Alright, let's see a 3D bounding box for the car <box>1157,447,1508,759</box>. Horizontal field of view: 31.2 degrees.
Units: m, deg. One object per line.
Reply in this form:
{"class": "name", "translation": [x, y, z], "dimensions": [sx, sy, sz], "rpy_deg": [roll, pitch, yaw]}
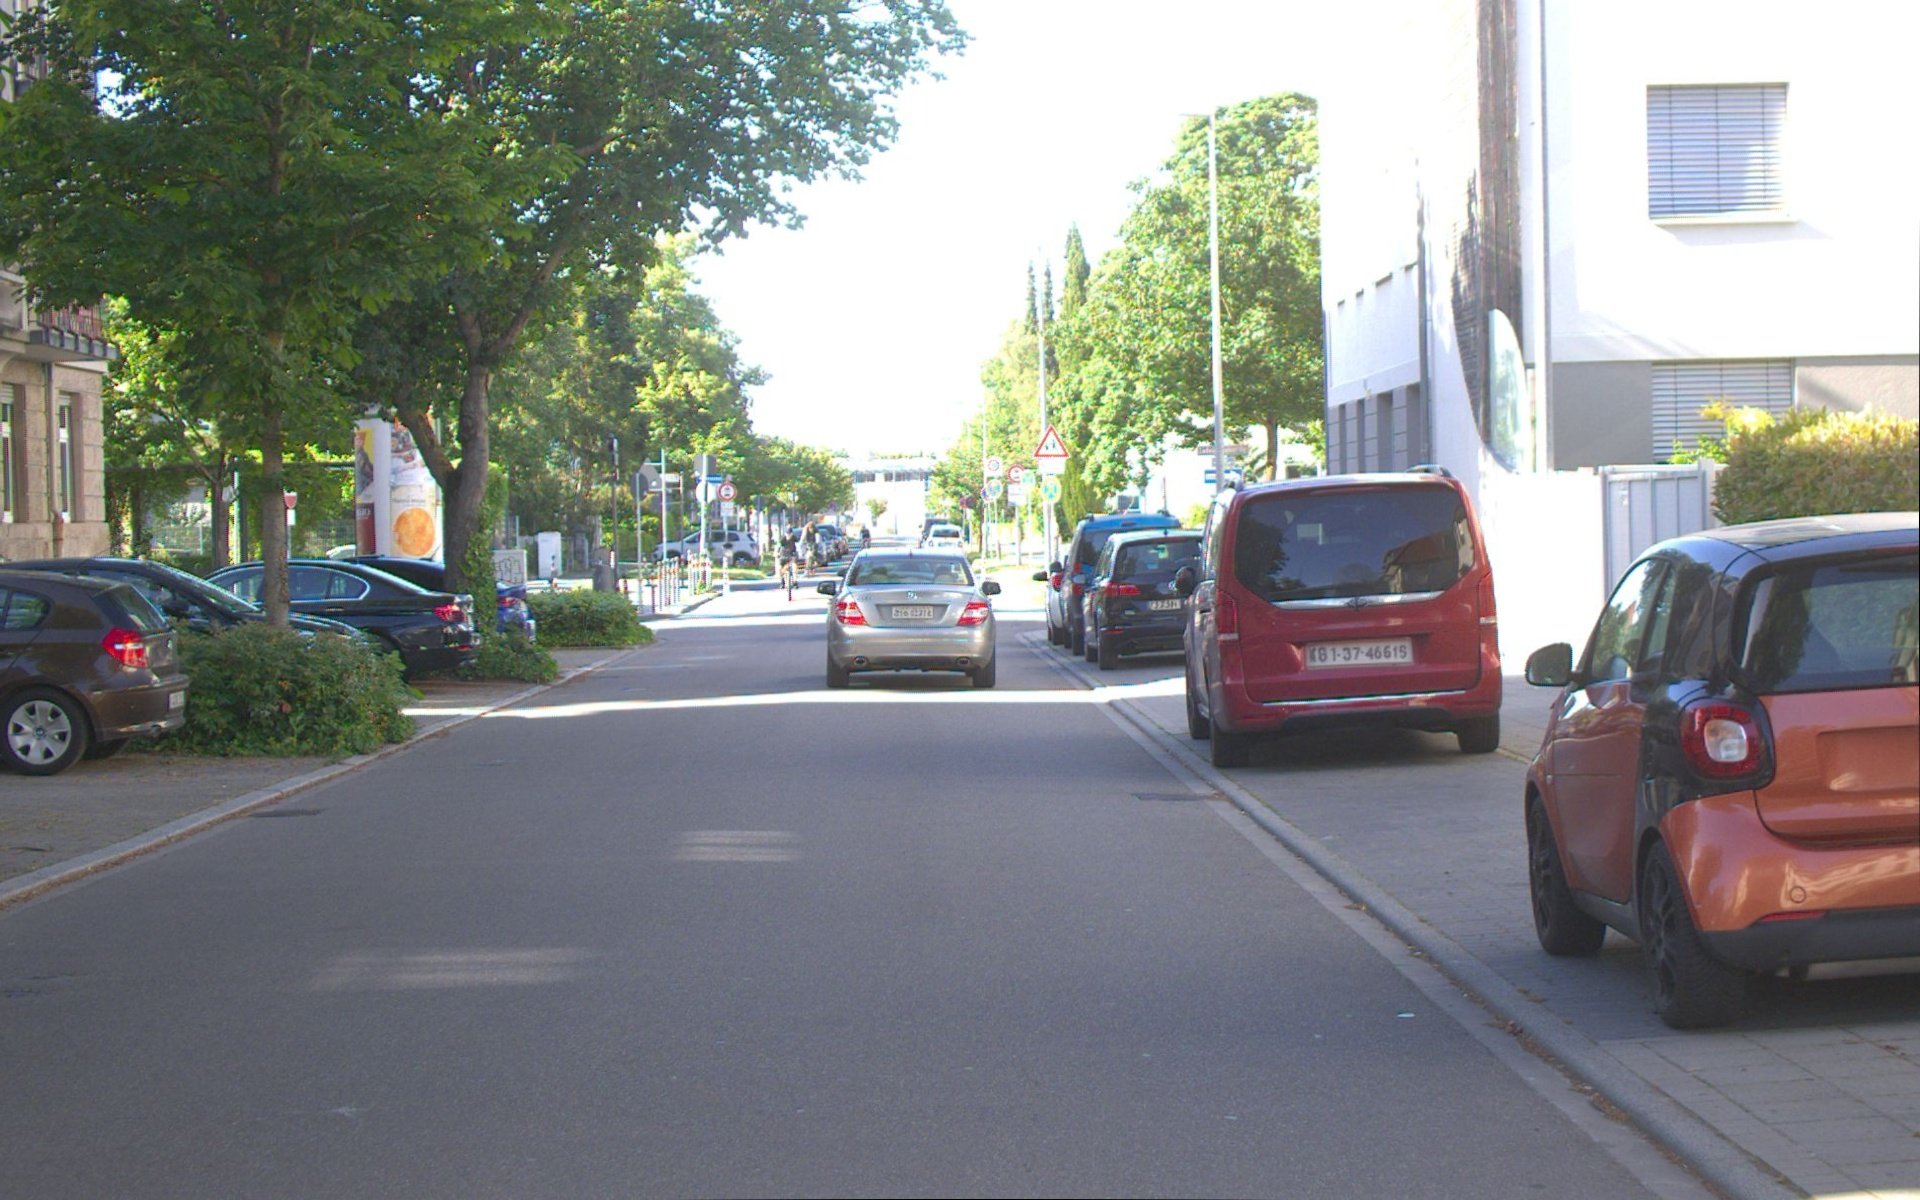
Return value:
{"class": "car", "translation": [2.489, -0.004, 24.182], "dimensions": [1.871, 1.898, 5.197], "rpy_deg": [-2, 0, 0]}

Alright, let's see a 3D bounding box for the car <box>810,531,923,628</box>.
{"class": "car", "translation": [-1.489, -0.318, 54.782], "dimensions": [1.707, 1.443, 4.203], "rpy_deg": [1, 0, -1]}

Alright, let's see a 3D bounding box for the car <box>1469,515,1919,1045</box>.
{"class": "car", "translation": [2.818, 0.483, 11.618], "dimensions": [1.592, 1.475, 3.247], "rpy_deg": [-3, 1, -1]}

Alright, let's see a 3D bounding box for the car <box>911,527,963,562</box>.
{"class": "car", "translation": [-0.920, -2.193, 135.755], "dimensions": [1.722, 1.325, 4.001], "rpy_deg": [-1, 1, -5]}

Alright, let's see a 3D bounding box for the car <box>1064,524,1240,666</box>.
{"class": "car", "translation": [2.226, -0.068, 40.817], "dimensions": [1.737, 1.526, 4.178], "rpy_deg": [-3, 0, -1]}

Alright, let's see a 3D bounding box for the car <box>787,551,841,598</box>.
{"class": "car", "translation": [-5.673, -1.018, 133.494], "dimensions": [1.872, 1.722, 4.001], "rpy_deg": [-1, 1, -5]}

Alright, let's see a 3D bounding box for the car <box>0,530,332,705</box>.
{"class": "car", "translation": [-7.879, 0.139, 31.213], "dimensions": [4.171, 1.495, 2.000], "rpy_deg": [1, 0, -8]}

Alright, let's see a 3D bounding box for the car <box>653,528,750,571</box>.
{"class": "car", "translation": [-9.611, -1.897, 127.875], "dimensions": [3.493, 1.528, 1.645], "rpy_deg": [-1, 1, -7]}

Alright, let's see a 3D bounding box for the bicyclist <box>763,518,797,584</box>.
{"class": "bicyclist", "translation": [-4.221, -1.156, 80.682], "dimensions": [0.721, 1.531, 1.137], "rpy_deg": [-1, 1, -1]}

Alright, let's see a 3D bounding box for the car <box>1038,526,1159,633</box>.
{"class": "car", "translation": [2.029, -0.300, 51.110], "dimensions": [1.564, 1.406, 3.729], "rpy_deg": [-5, 0, 0]}

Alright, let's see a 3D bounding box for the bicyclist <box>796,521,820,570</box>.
{"class": "bicyclist", "translation": [-4.741, -1.712, 107.162], "dimensions": [0.680, 1.504, 0.655], "rpy_deg": [-1, 1, 1]}

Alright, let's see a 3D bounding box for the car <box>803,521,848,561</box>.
{"class": "car", "translation": [-6.134, -2.685, 156.549], "dimensions": [1.787, 1.527, 4.000], "rpy_deg": [-3, -2, -5]}

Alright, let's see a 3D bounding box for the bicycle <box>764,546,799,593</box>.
{"class": "bicycle", "translation": [-4.186, -0.726, 80.693], "dimensions": [0.719, 1.075, 1.891], "rpy_deg": [-1, 1, 0]}

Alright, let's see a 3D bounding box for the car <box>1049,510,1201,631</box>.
{"class": "car", "translation": [2.188, -0.381, 46.548], "dimensions": [1.682, 1.430, 4.266], "rpy_deg": [-5, 0, -1]}

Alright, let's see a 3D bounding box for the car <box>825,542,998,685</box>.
{"class": "car", "translation": [-0.486, 0.135, 36.782], "dimensions": [1.726, 1.415, 3.960], "rpy_deg": [1, 0, 0]}

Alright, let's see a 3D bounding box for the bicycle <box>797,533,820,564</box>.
{"class": "bicycle", "translation": [-4.715, -1.616, 107.150], "dimensions": [0.589, 0.928, 1.850], "rpy_deg": [-1, 1, 0]}

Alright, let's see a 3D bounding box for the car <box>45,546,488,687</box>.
{"class": "car", "translation": [-7.460, 0.174, 37.306], "dimensions": [4.473, 1.474, 1.869], "rpy_deg": [0, 0, -2]}

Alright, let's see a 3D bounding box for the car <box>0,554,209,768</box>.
{"class": "car", "translation": [-7.556, 0.400, 24.640], "dimensions": [3.986, 1.416, 1.771], "rpy_deg": [0, 2, -2]}

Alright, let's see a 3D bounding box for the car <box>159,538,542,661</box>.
{"class": "car", "translation": [-7.524, -0.005, 42.730], "dimensions": [4.473, 1.474, 1.869], "rpy_deg": [0, 0, -2]}
